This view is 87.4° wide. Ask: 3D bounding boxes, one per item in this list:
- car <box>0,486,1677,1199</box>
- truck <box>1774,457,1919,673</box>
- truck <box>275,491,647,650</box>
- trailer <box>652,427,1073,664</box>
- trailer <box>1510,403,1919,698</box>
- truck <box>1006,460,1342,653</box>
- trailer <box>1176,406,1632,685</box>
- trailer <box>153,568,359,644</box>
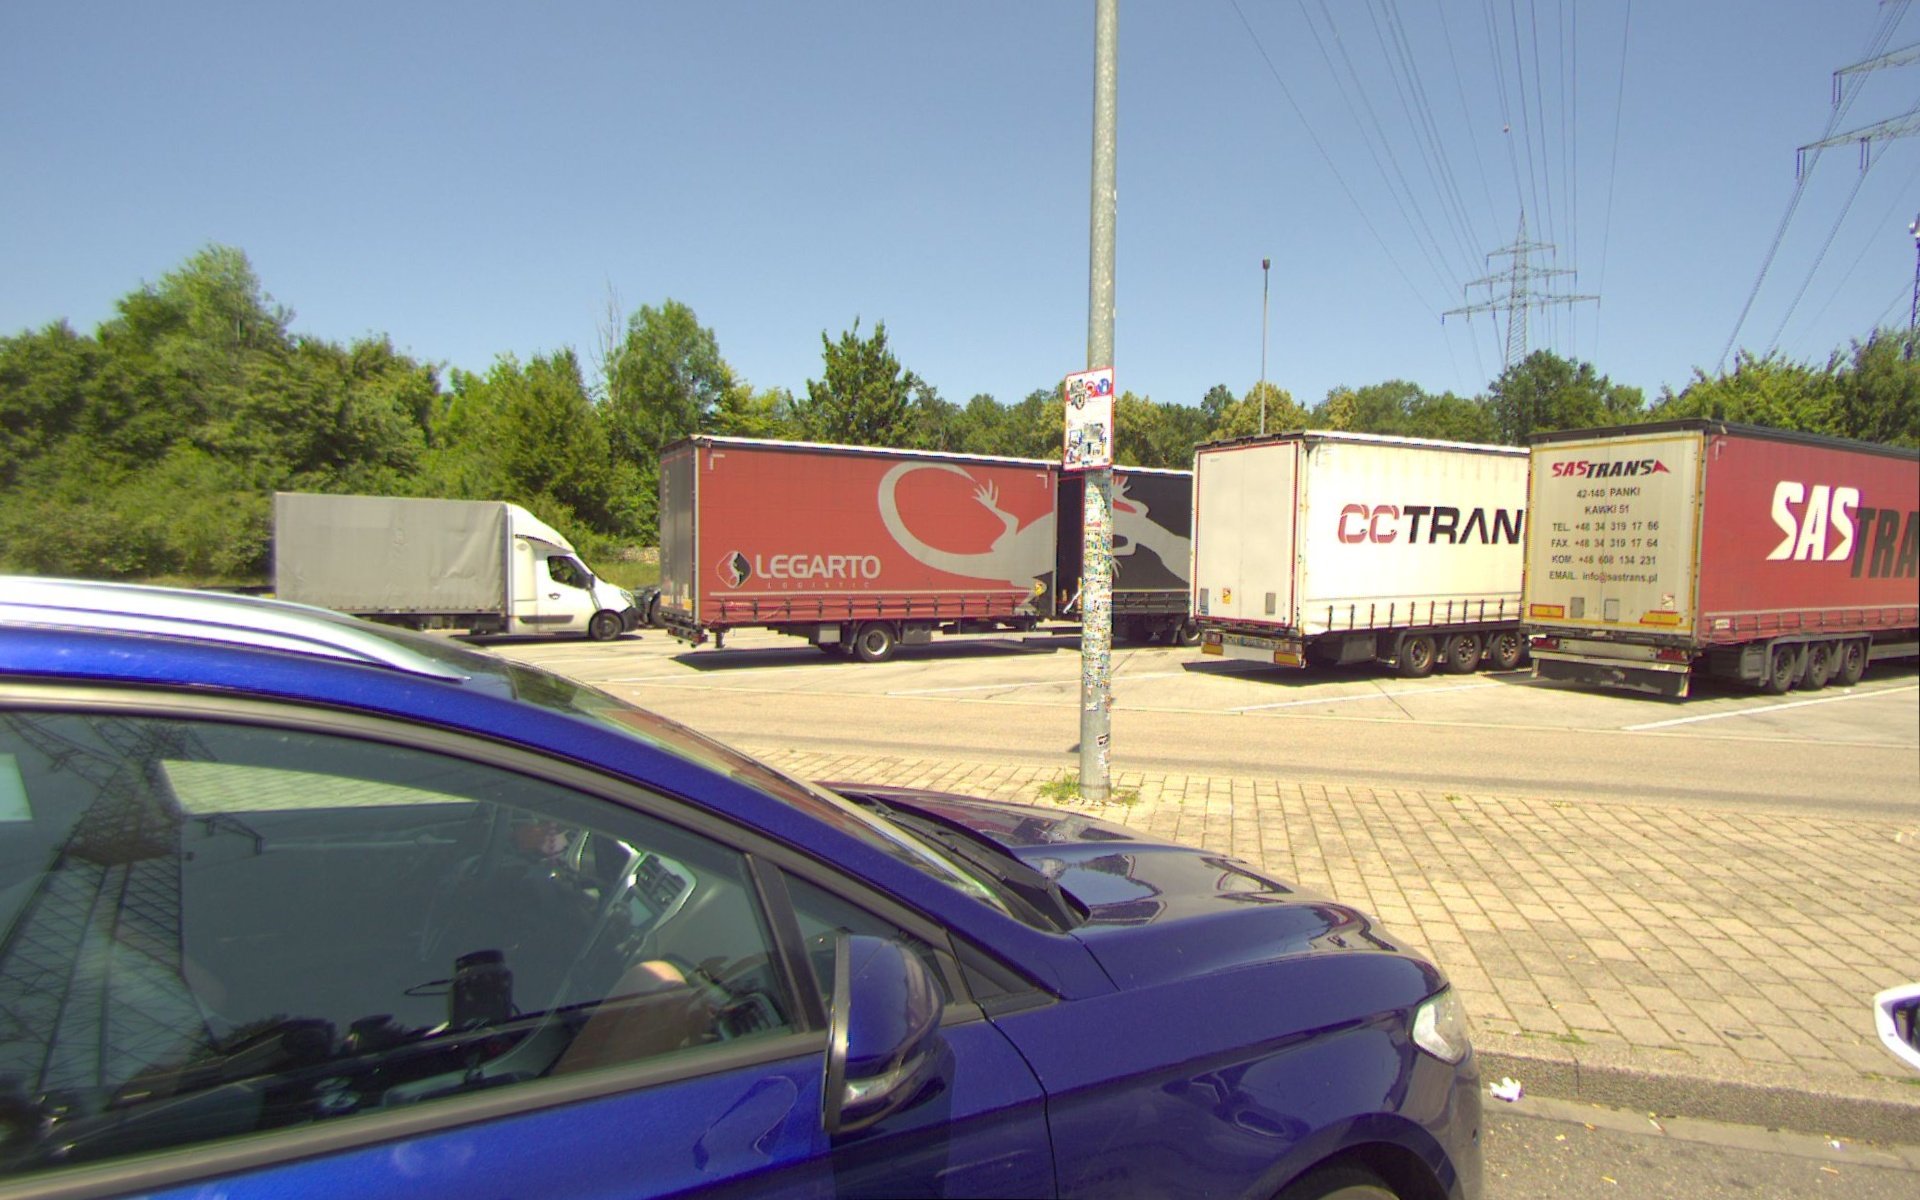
[{"bbox_3d":[-1.005,0.652,1.474,4.419,1.485,1.765,0,1,-32],"label":"car"},{"bbox_3d":[20.823,-0.675,21.781,6.749,4.136,2.729,0,1,-31],"label":"truck"},{"bbox_3d":[-11.110,-0.607,22.918,7.265,3.170,2.352,0,1,-30],"label":"truck"},{"bbox_3d":[-1.786,-0.920,20.320,8.158,4.027,2.651,0,1,-30],"label":"trailer"},{"bbox_3d":[15.324,-0.671,18.529,13.129,4.112,2.736,0,1,-31],"label":"trailer"},{"bbox_3d":[5.406,-0.912,24.592,8.534,4.073,2.624,0,1,-30],"label":"truck"},{"bbox_3d":[8.716,-0.831,19.117,9.614,4.321,2.733,0,1,-29],"label":"trailer"},{"bbox_3d":[-16.501,0.144,23.787,3.856,1.684,1.464,0,1,-30],"label":"trailer"}]
